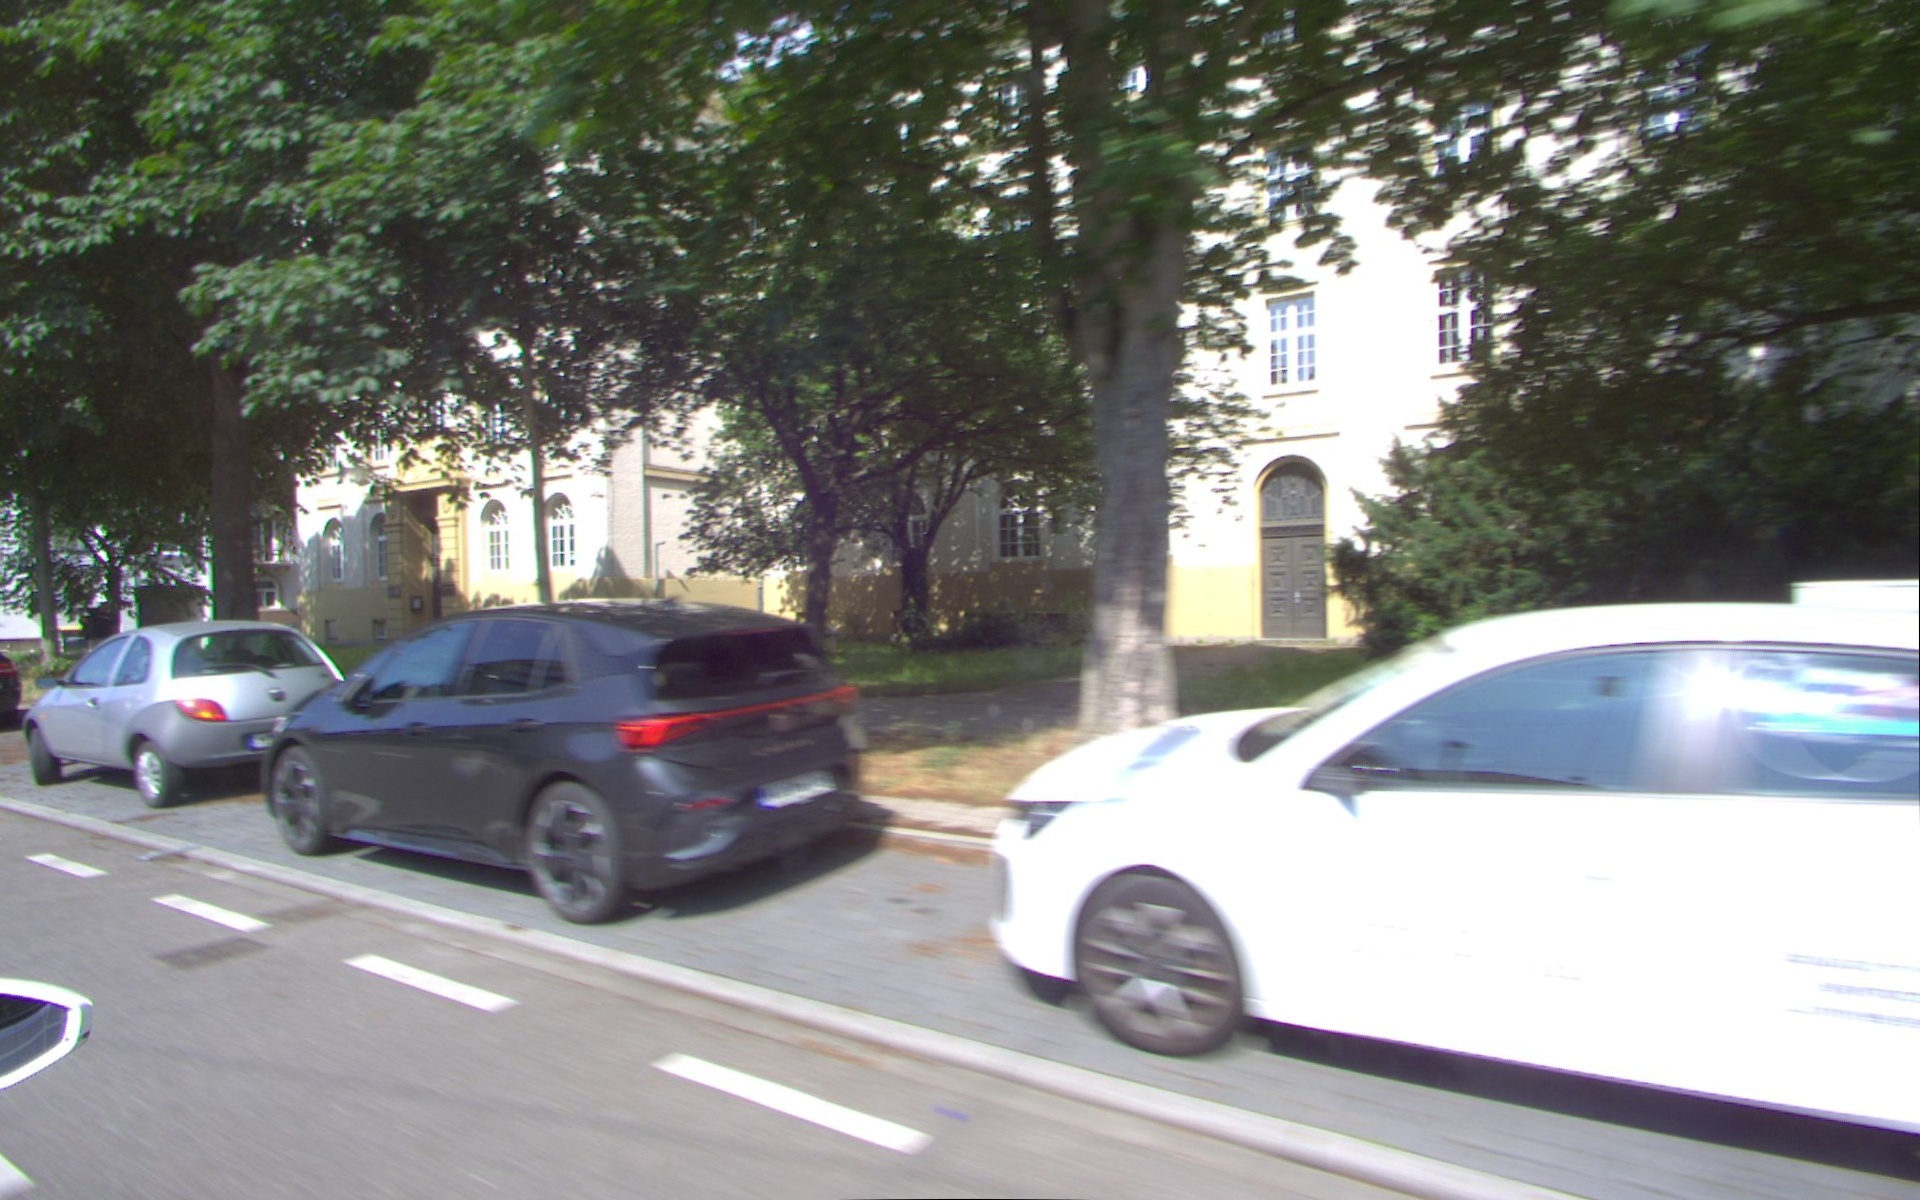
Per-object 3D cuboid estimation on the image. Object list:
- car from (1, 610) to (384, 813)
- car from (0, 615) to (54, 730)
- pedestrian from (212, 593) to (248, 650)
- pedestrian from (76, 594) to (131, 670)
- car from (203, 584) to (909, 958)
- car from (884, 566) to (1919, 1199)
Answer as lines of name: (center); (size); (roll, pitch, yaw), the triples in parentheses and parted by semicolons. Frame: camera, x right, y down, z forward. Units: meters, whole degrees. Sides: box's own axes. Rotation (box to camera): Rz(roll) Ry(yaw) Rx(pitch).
car: (-7.052, 0.882, 9.142); (3.546, 1.465, 1.587); (-1, 2, 32)
car: (-14.744, 0.991, 13.843); (4.725, 1.462, 1.913); (0, 3, 31)
pedestrian: (-21.114, 0.614, 28.970); (0.532, 1.617, 0.630); (-1, 1, 29)
pedestrian: (-19.729, 0.720, 23.075); (0.756, 1.719, 0.742); (0, 1, 32)
car: (-2.709, 0.753, 6.296); (4.610, 1.605, 1.721); (-1, 1, 32)
car: (2.009, 0.705, 3.435); (4.189, 1.544, 1.832); (-1, 2, 29)
